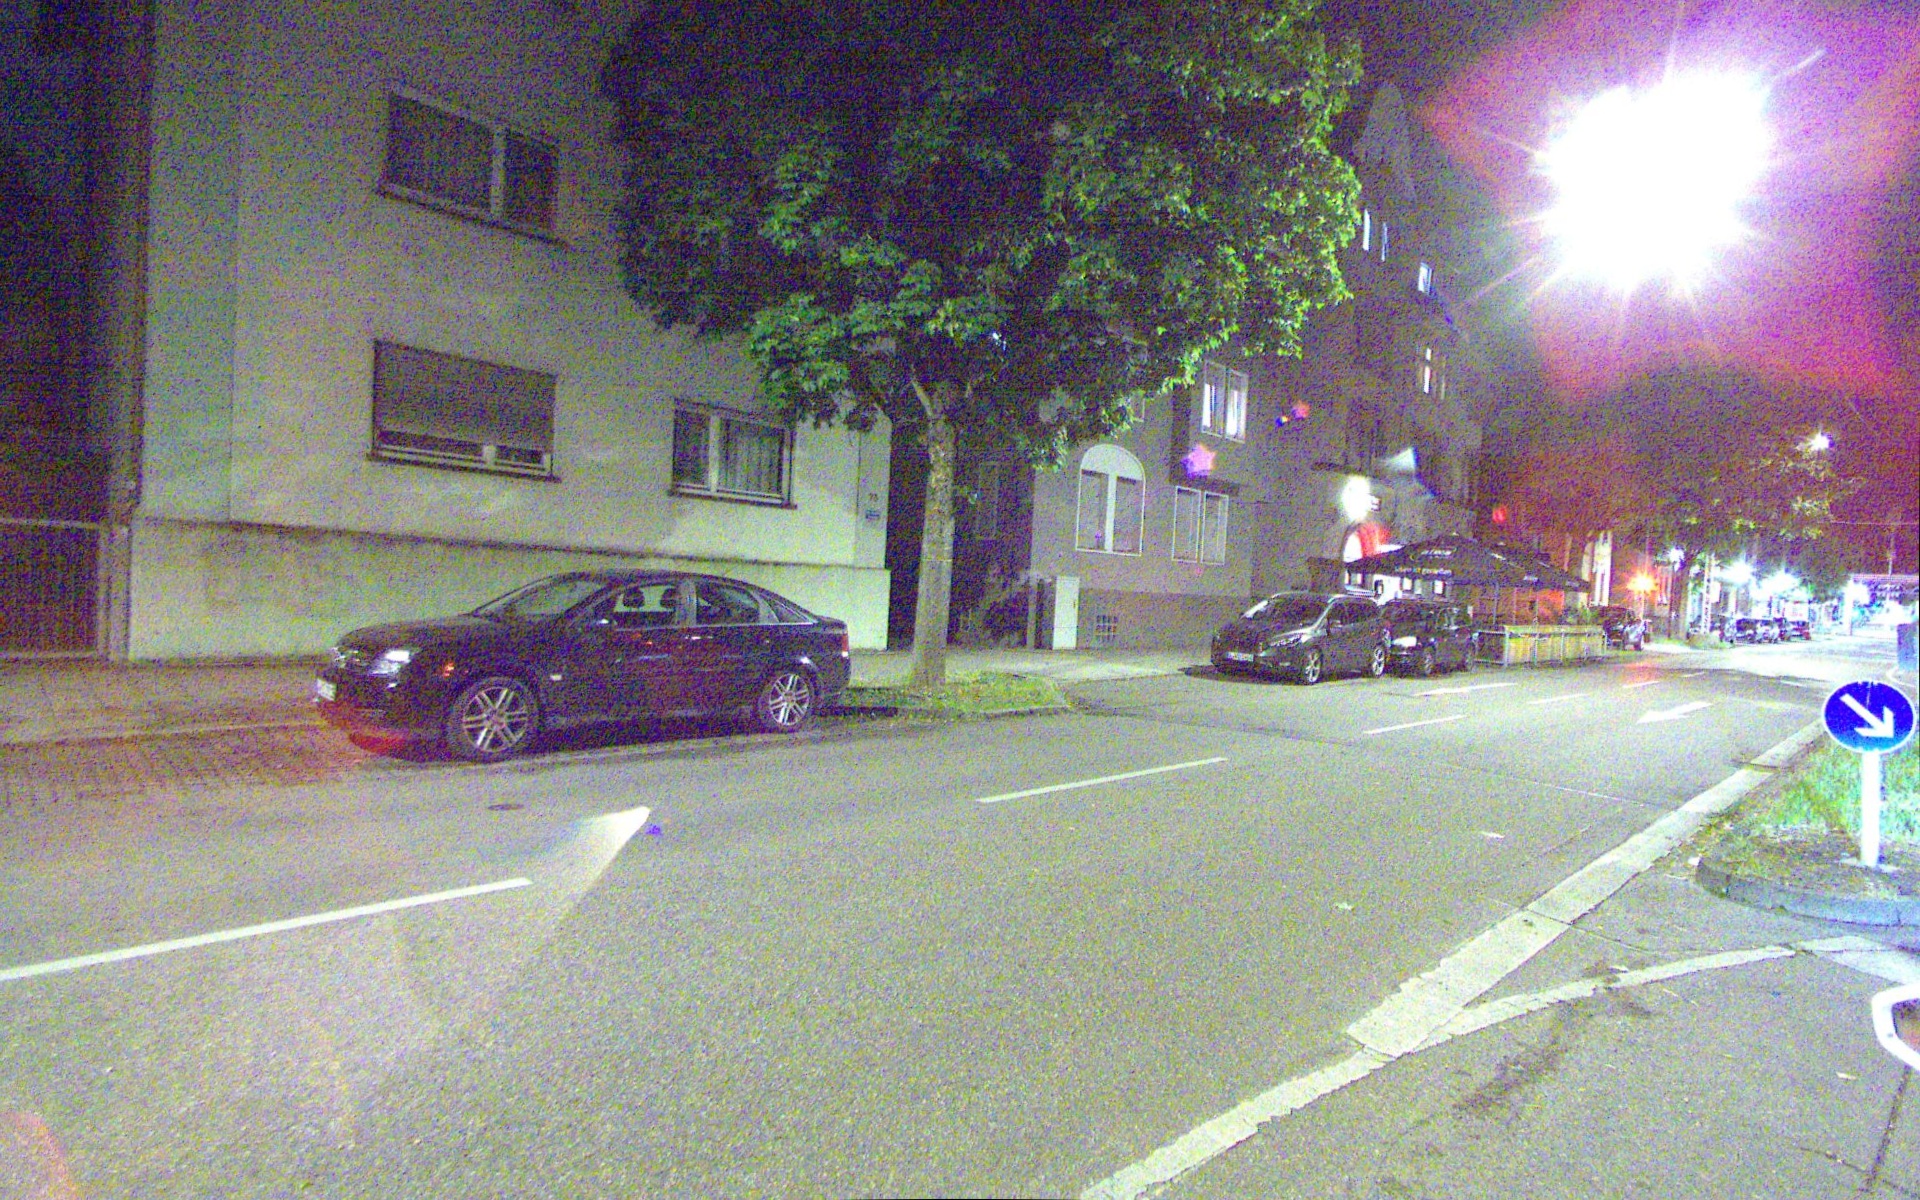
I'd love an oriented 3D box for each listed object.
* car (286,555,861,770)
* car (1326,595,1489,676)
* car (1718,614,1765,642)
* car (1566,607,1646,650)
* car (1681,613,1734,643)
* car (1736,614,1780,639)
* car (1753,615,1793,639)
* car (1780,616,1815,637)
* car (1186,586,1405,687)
[{"bbox_3d":[-3.059,0.434,8.769,1.604,1.401,4.428,3,1,42],"label":"car"},{"bbox_3d":[9.720,0.728,21.646,1.785,1.501,4.297,4,1,44],"label":"car"},{"bbox_3d":[44.835,1.612,57.612,1.634,1.450,3.975,3,1,45],"label":"car"},{"bbox_3d":[23.742,1.028,36.877,1.634,1.450,3.975,3,1,45],"label":"car"},{"bbox_3d":[38.820,1.433,52.149,1.634,1.450,3.975,3,1,45],"label":"car"},{"bbox_3d":[49.241,1.633,61.956,1.634,1.450,3.975,3,1,45],"label":"car"},{"bbox_3d":[53.949,1.803,66.615,1.634,1.450,3.975,3,1,45],"label":"car"},{"bbox_3d":[63.601,2.024,76.262,1.634,1.450,3.975,3,1,45],"label":"car"},{"bbox_3d":[6.126,0.596,18.076,4.423,1.491,1.880,1,4,-45],"label":"car"}]
